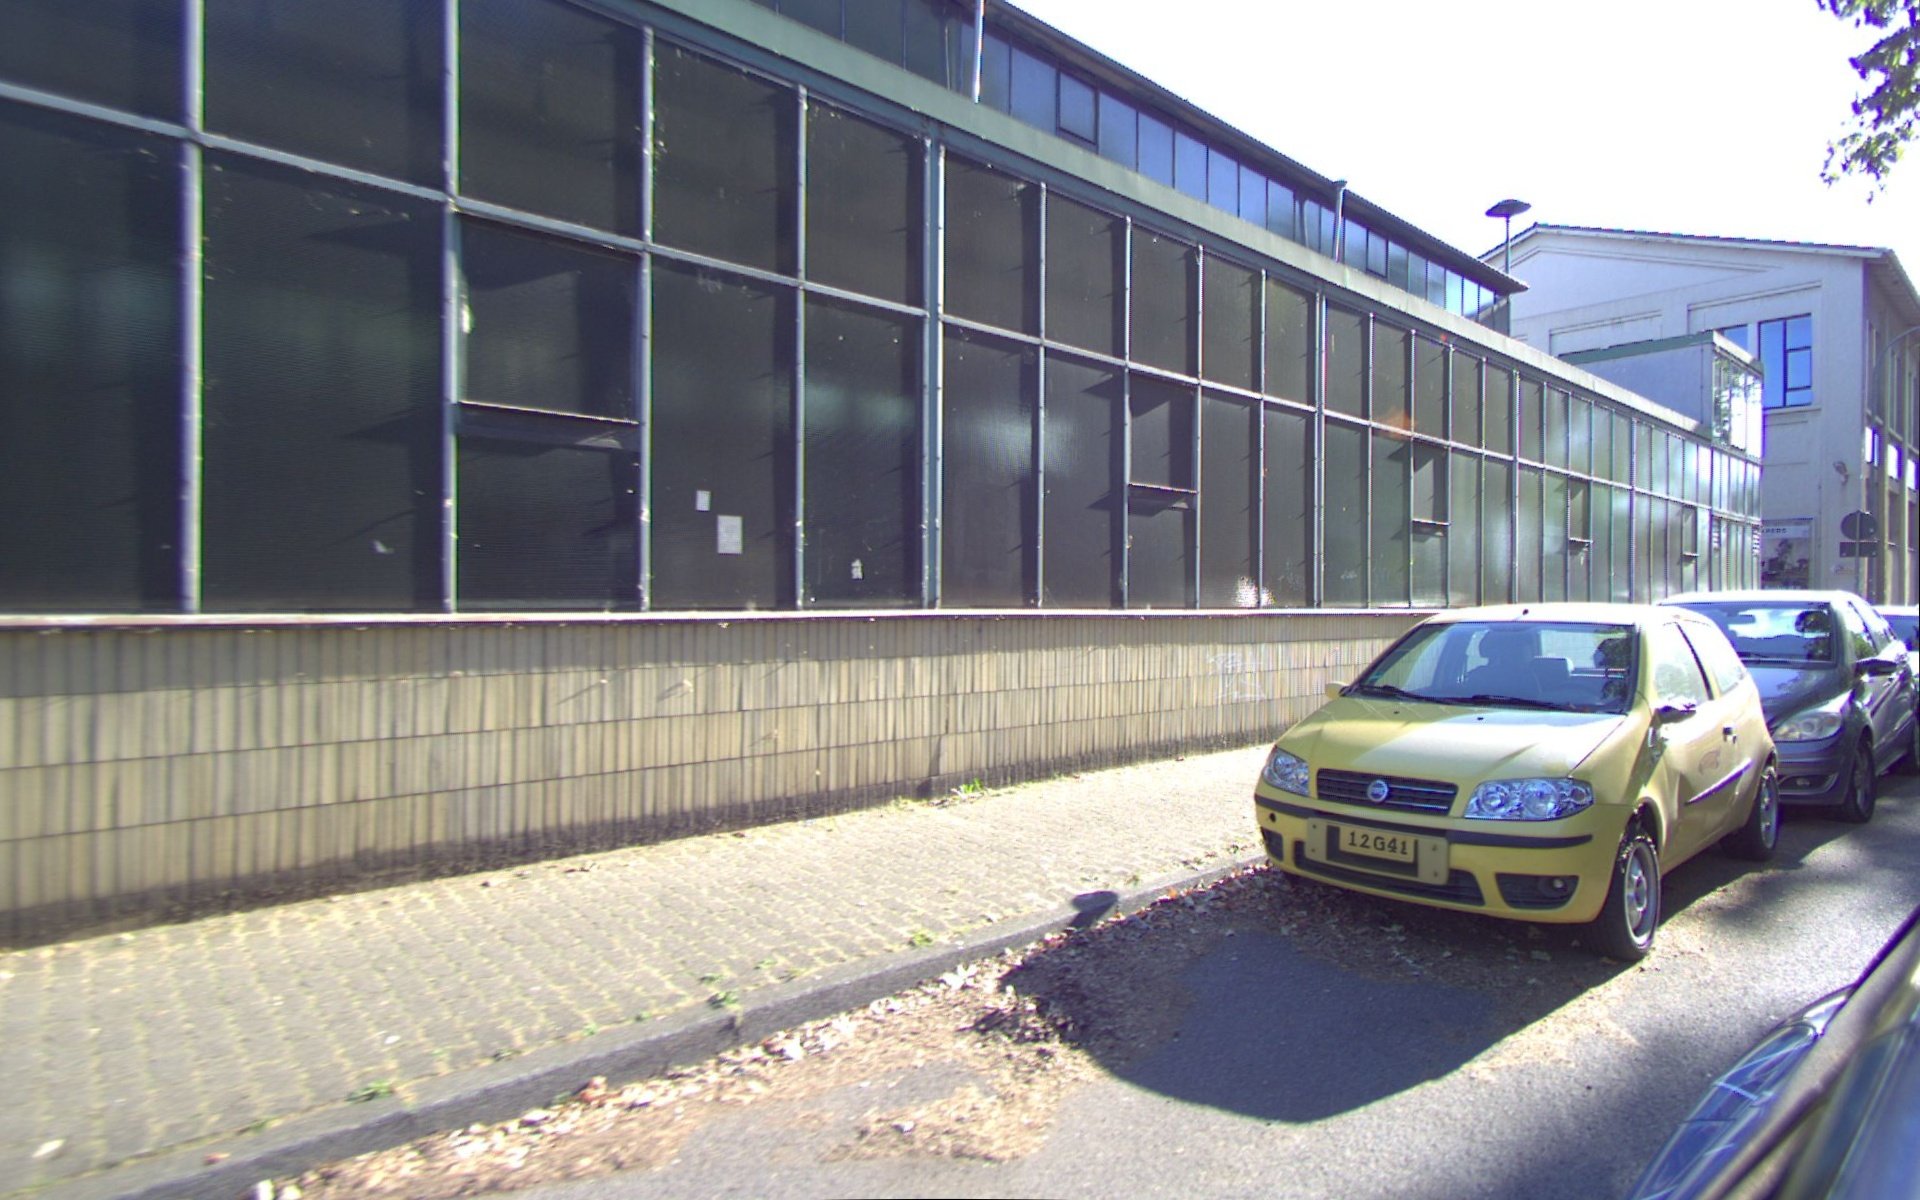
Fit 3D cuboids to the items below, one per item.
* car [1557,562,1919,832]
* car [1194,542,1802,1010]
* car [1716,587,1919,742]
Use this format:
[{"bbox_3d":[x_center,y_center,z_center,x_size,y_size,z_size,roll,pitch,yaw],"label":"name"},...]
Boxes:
[{"bbox_3d":[6.636,0.571,8.264,4.234,1.655,1.753,-1,0,-41],"label":"car"},{"bbox_3d":[3.163,0.599,5.568,3.934,1.655,1.752,-1,0,-43],"label":"car"},{"bbox_3d":[10.606,0.613,11.955,4.452,1.512,1.902,-1,0,-43],"label":"car"}]
